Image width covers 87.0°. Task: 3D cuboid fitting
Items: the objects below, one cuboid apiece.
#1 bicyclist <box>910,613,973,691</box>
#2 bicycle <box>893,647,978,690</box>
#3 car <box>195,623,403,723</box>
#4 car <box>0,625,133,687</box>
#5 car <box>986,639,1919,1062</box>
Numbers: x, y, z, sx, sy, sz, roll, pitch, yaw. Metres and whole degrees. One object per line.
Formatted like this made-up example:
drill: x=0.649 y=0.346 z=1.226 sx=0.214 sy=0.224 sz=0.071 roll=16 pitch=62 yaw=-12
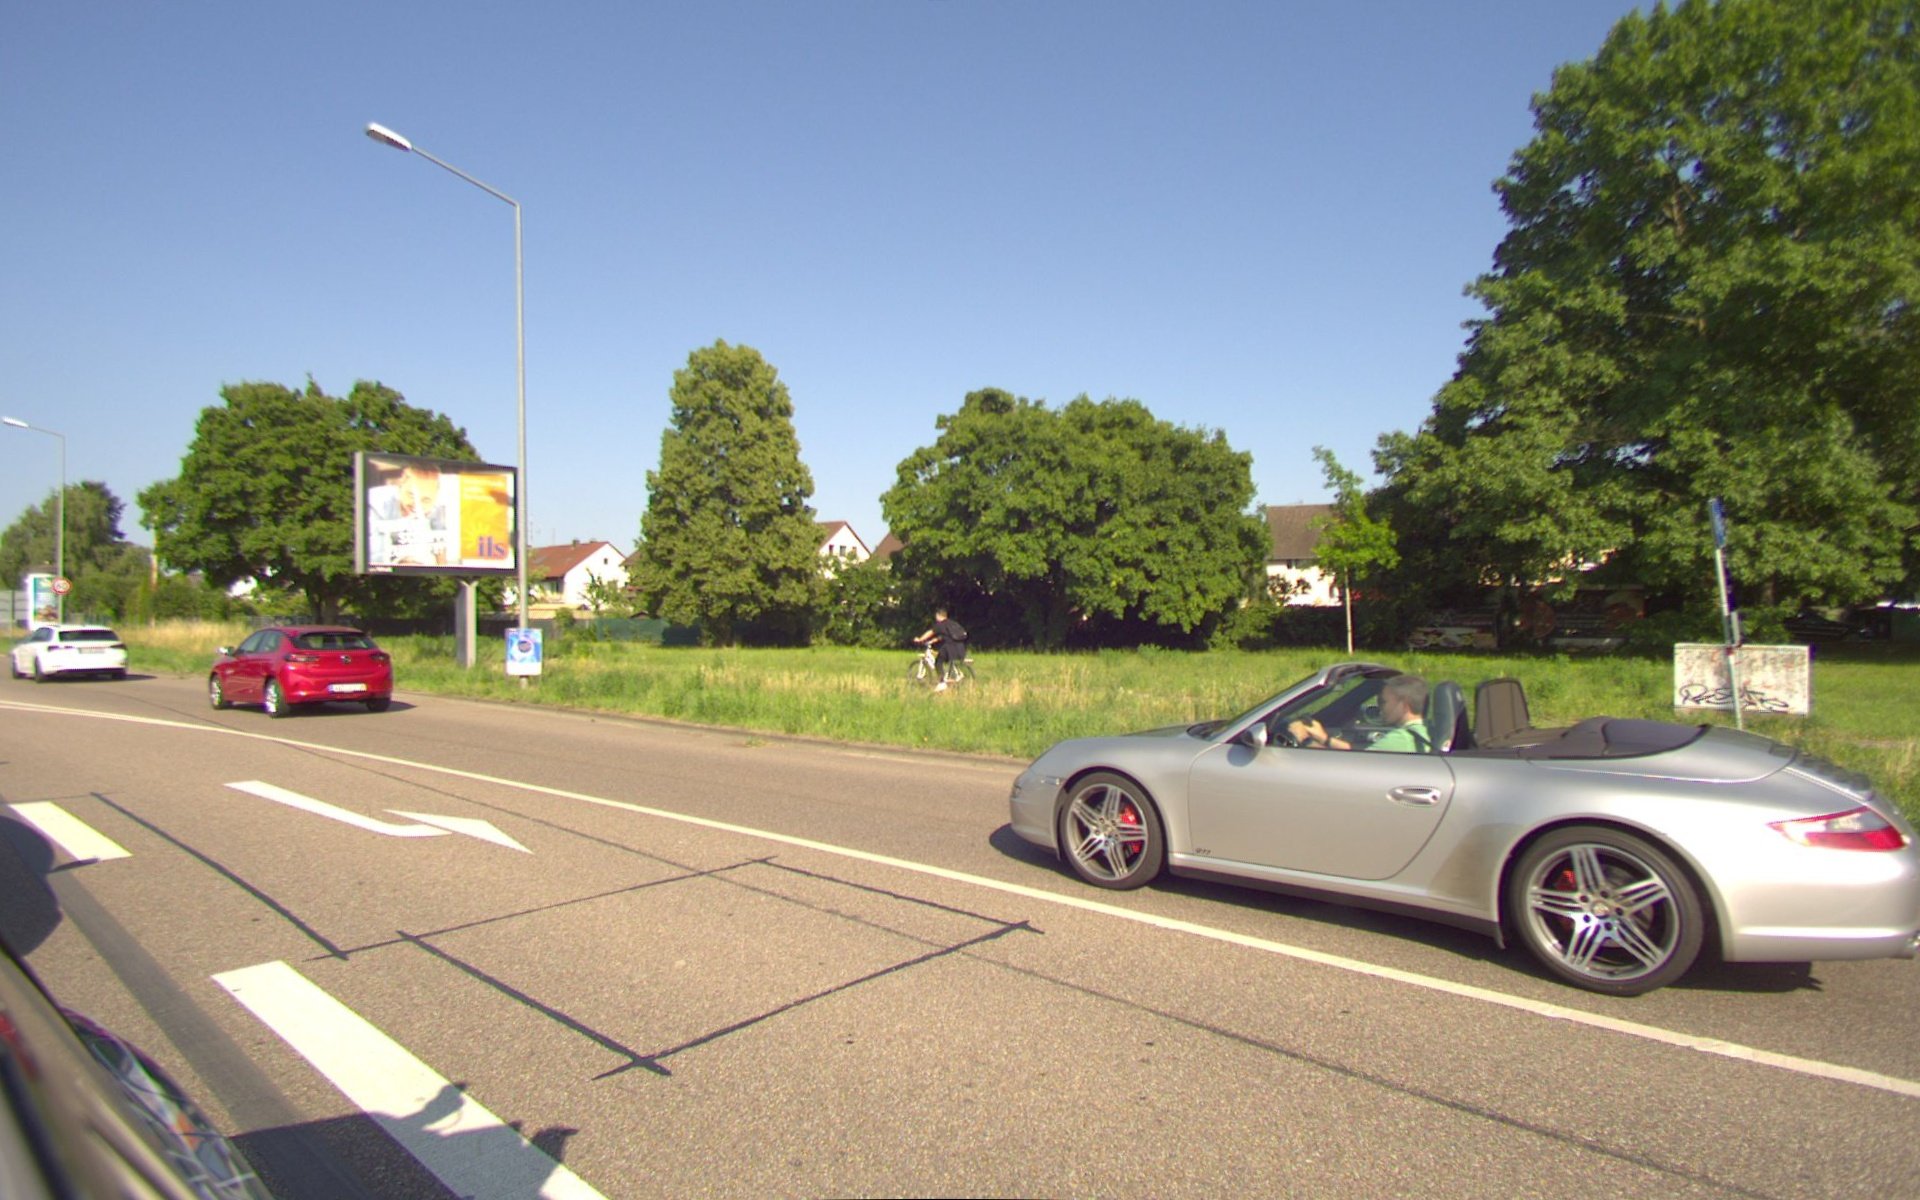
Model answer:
bicyclist: x=-0.360 y=0.983 z=19.441 sx=1.071 sy=1.439 sz=0.630 roll=-2 pitch=-2 yaw=42
bicycle: x=-0.489 y=1.301 z=19.487 sx=1.834 sy=0.759 sz=0.449 roll=-1 pitch=-1 yaw=42
car: x=-11.234 y=1.159 z=17.123 sx=3.908 sy=1.489 sz=1.762 roll=-1 pitch=-2 yaw=38
car: x=-23.283 y=1.412 z=26.306 sx=4.264 sy=1.489 sz=1.763 roll=-1 pitch=-2 yaw=36
car: x=2.330 y=0.900 z=5.276 sx=4.285 sy=1.320 sz=1.760 roll=-1 pitch=-1 yaw=42
